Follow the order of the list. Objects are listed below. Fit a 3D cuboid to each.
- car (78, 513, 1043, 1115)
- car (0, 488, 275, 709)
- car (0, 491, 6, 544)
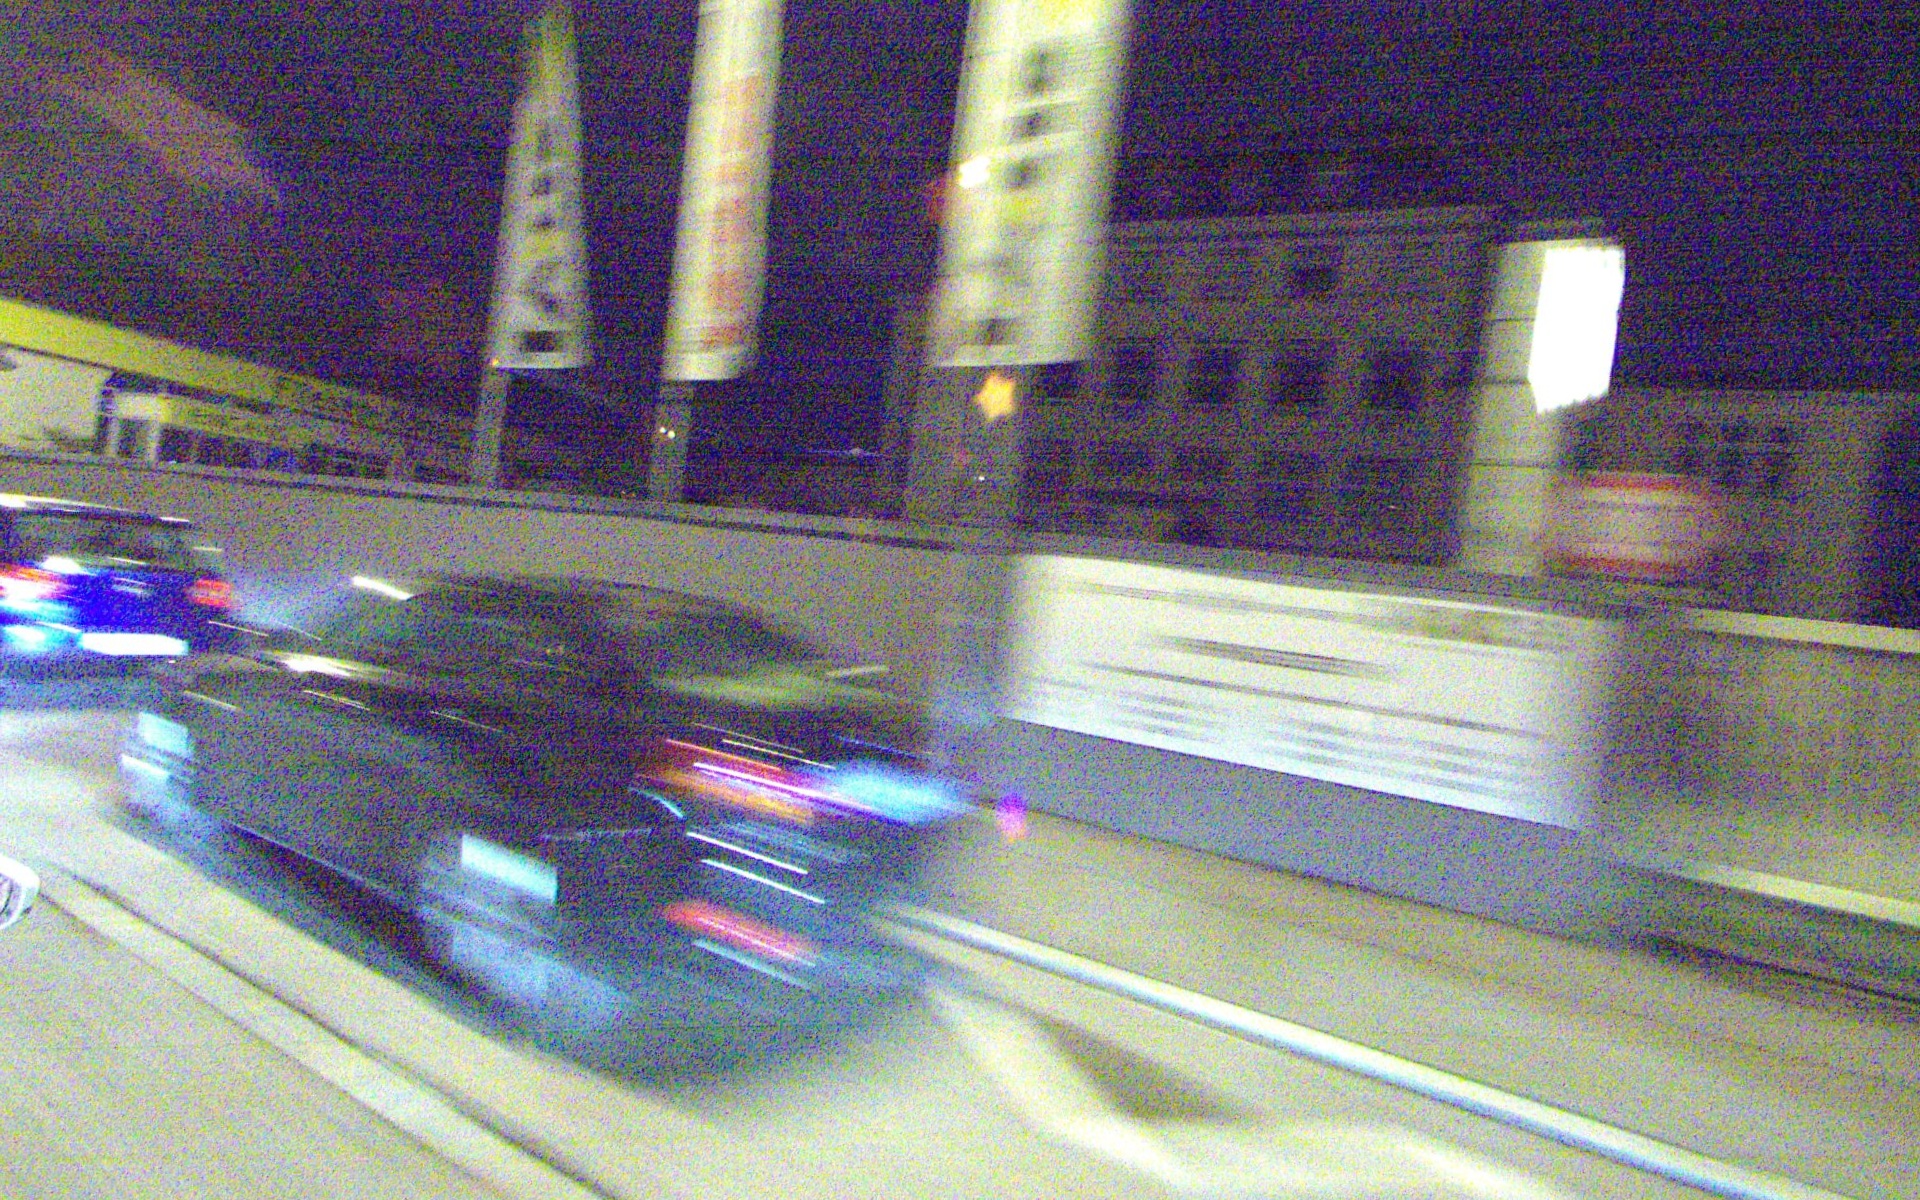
[{"bbox_3d":[-2.044,0.561,4.668,4.407,1.443,1.781,6,-1,32],"label":"car"},{"bbox_3d":[-7.558,-0.127,8.123,3.826,1.443,1.782,6,-1,30],"label":"car"},{"bbox_3d":[-11.847,-0.610,10.610,3.657,1.484,1.597,6,-1,31],"label":"car"}]
